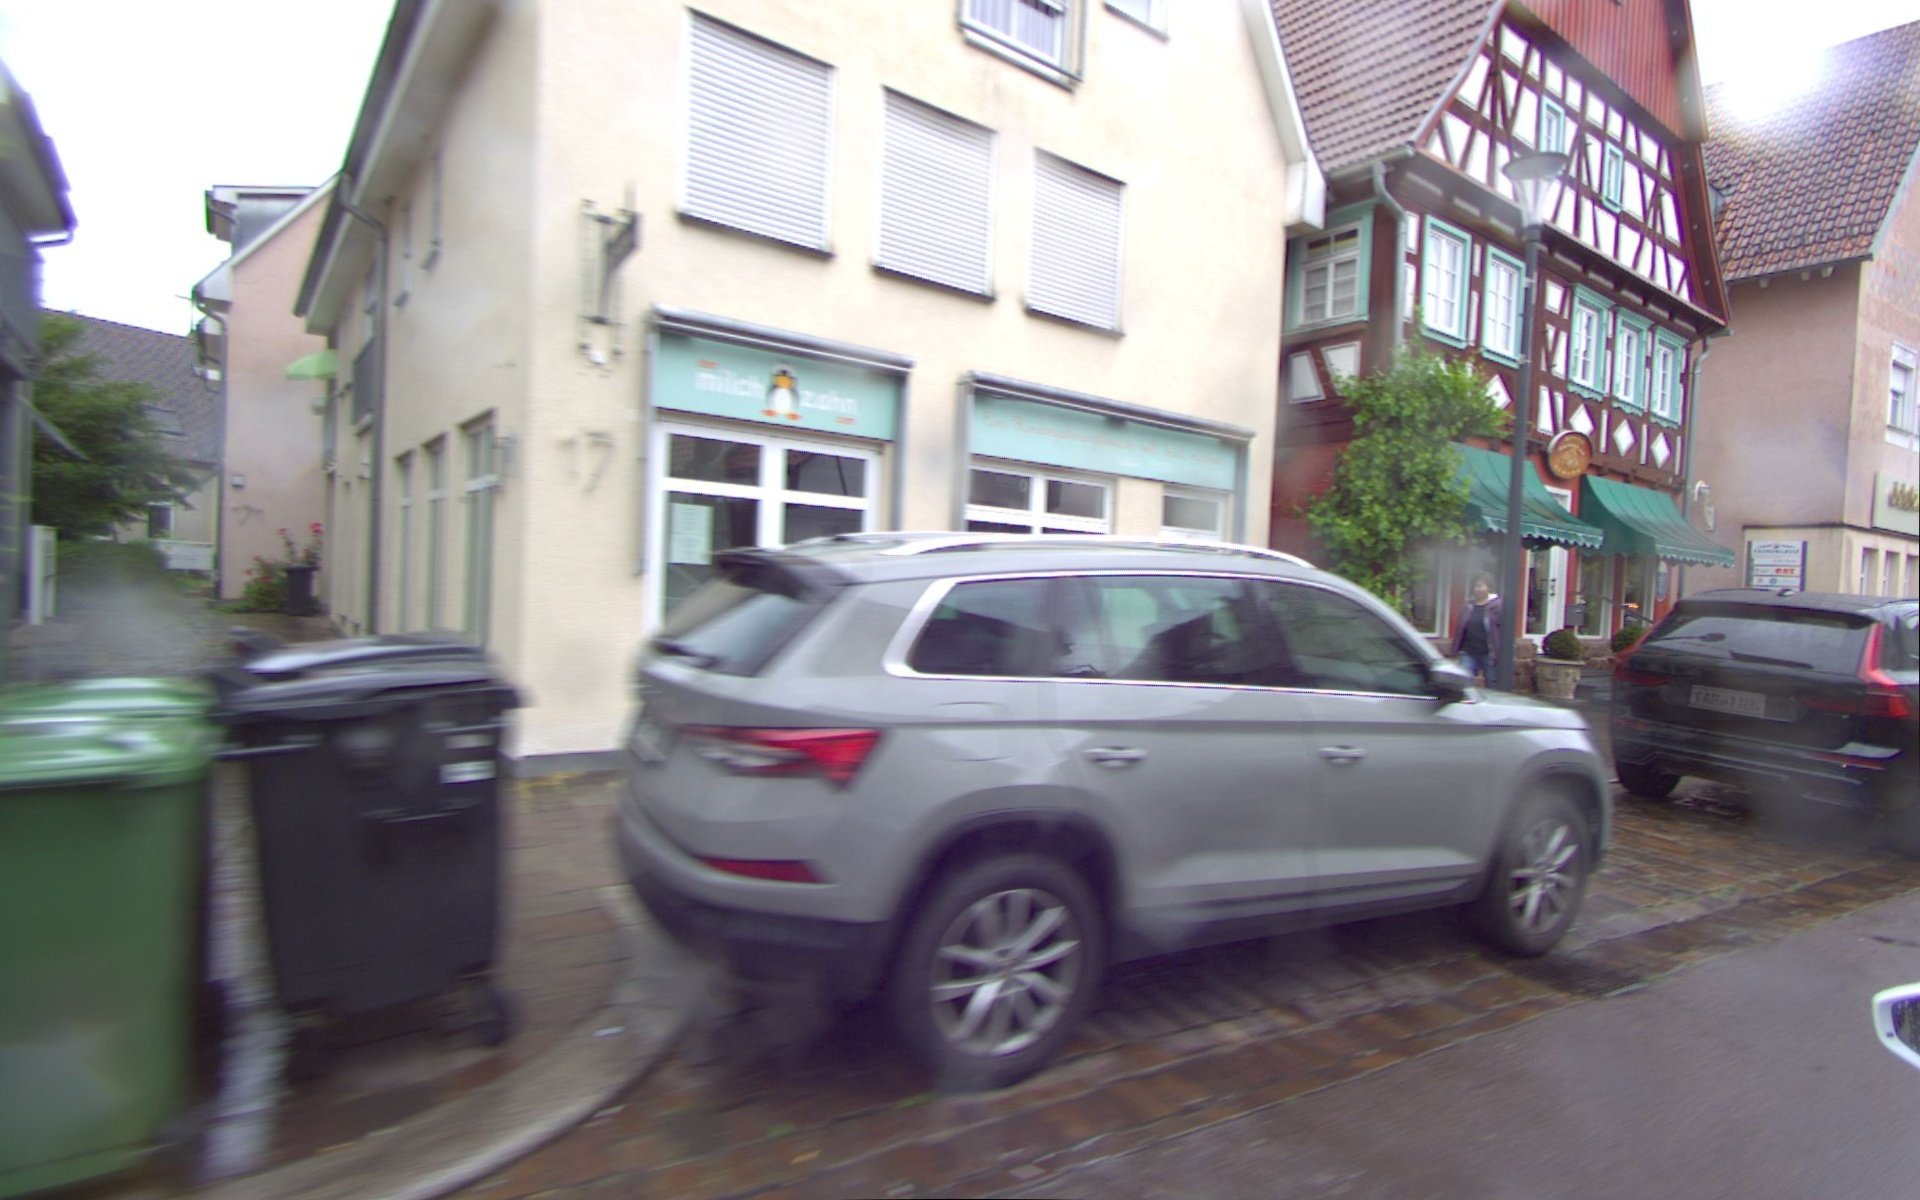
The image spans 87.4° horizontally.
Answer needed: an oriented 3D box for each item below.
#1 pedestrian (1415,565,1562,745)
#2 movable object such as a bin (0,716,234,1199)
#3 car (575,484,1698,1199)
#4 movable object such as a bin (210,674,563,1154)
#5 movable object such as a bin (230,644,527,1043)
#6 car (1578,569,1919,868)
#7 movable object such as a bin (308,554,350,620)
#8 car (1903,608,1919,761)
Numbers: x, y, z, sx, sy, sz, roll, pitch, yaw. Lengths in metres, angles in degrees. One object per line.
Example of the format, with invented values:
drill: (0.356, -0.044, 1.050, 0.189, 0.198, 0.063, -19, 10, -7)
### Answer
pedestrian: (5.377, 0.540, 10.223, 1.165, 1.704, 0.783, 3, 2, -35)
movable object such as a bin: (-2.006, 0.837, 2.271, 0.529, 1.060, 0.548, 2, 2, -34)
car: (0.940, 0.587, 4.294, 4.588, 1.688, 1.815, 2, 2, -30)
movable object such as a bin: (-1.655, 0.808, 2.931, 0.773, 1.116, 0.612, 3, 2, -33)
movable object such as a bin: (-1.981, 0.752, 3.447, 0.773, 1.135, 0.612, 3, 2, -33)
car: (7.004, 0.729, 7.795, 4.590, 1.688, 1.814, 2, 2, -32)
movable object such as a bin: (-12.150, -0.255, 19.347, 0.642, 1.210, 0.612, 3, 2, -33)
car: (12.045, 0.933, 10.708, 4.241, 1.559, 1.770, 0, 4, -31)
